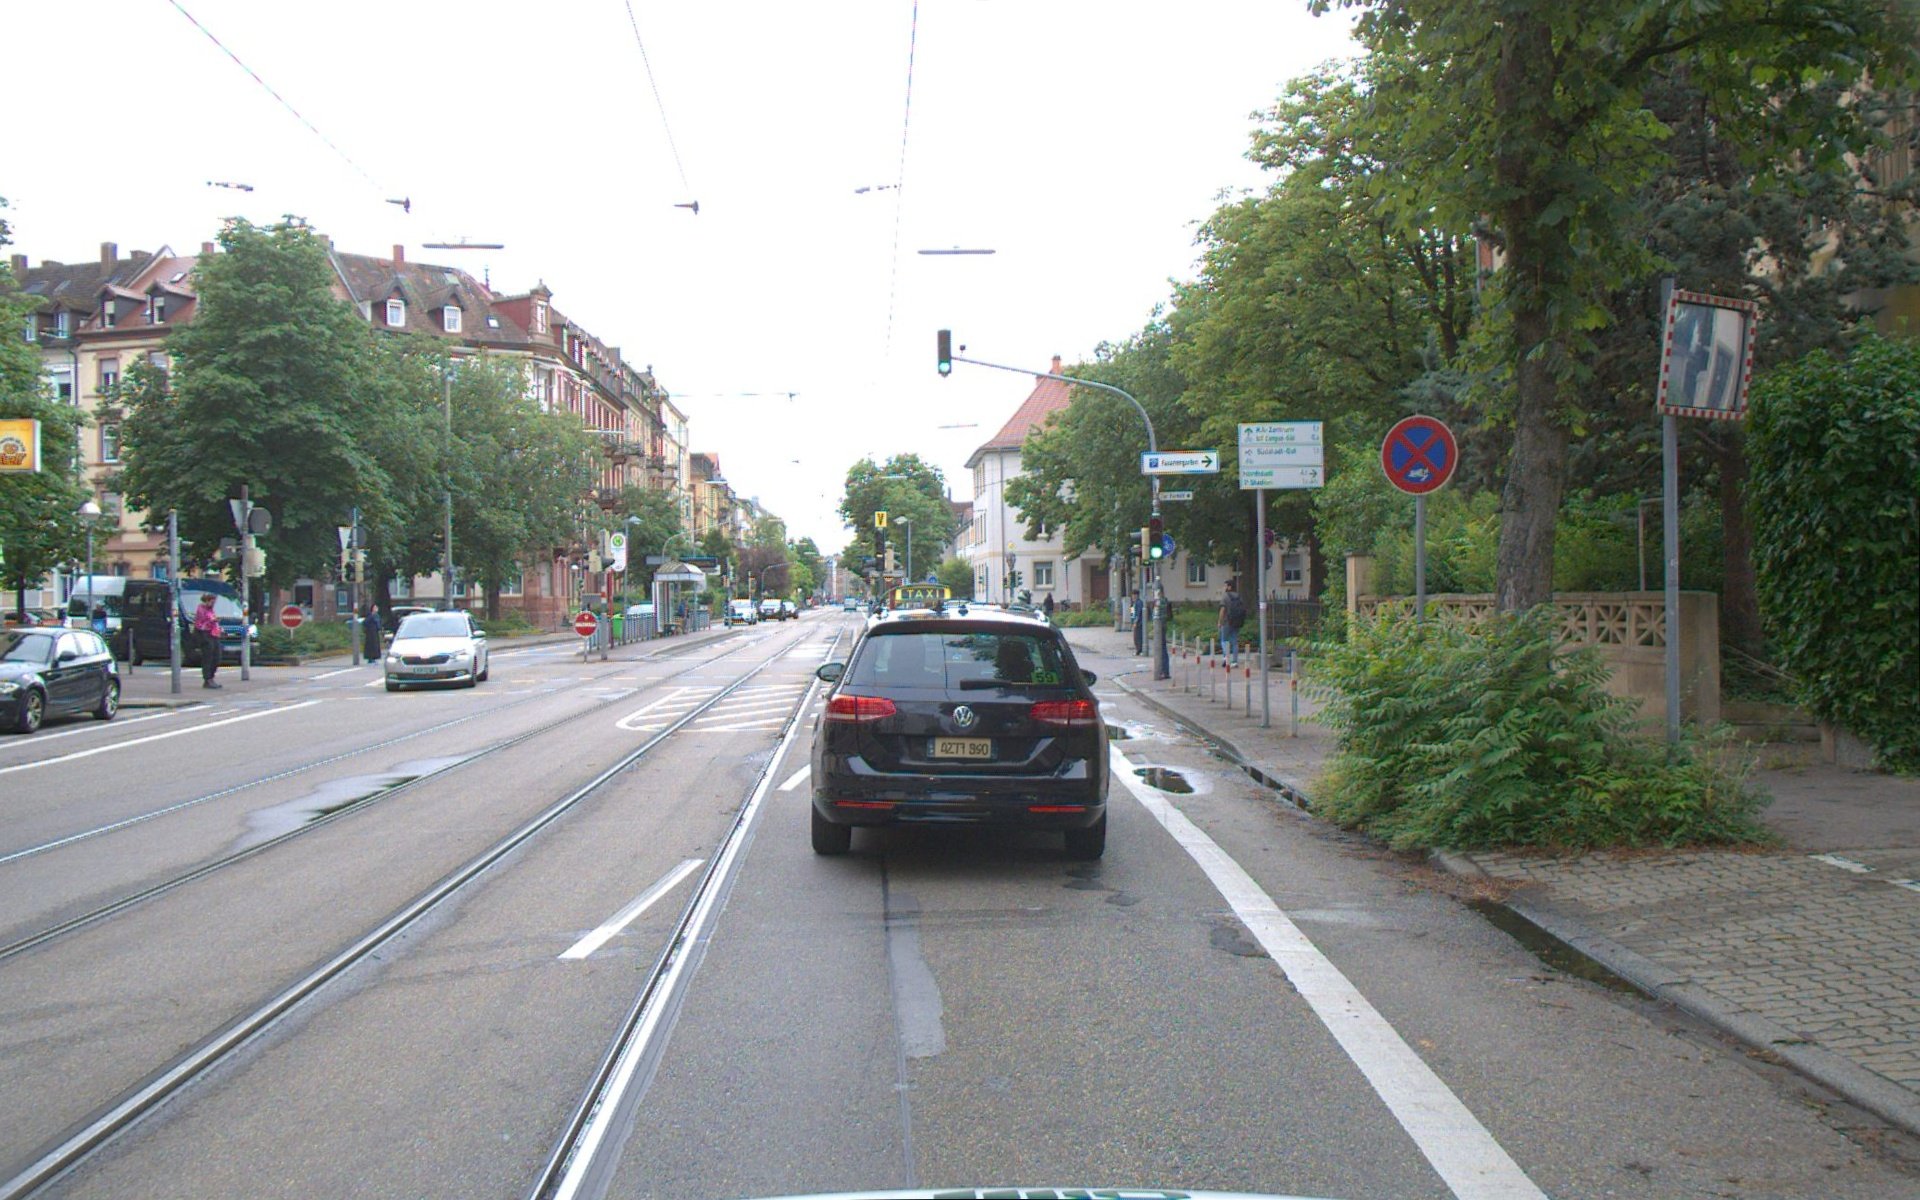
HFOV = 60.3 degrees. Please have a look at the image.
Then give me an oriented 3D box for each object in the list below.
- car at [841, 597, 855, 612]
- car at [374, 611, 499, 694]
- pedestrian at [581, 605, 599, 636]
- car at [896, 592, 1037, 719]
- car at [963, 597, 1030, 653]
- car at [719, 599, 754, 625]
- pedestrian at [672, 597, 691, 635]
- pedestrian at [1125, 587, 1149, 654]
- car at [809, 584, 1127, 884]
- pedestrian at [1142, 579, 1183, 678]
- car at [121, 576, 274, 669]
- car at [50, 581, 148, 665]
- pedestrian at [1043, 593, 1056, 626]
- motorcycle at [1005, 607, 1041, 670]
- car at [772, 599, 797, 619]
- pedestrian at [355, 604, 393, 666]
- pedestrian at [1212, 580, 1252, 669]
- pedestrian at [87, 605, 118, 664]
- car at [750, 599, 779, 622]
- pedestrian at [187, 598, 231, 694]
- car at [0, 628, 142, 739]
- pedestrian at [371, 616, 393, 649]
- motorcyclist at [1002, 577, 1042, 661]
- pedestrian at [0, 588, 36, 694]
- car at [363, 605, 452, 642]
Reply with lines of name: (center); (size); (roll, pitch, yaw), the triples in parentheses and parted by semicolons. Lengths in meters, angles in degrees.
car: (-16.042, 0.662, 237.725); (1.992, 2.049, 3.997); (0, -1, -3)
car: (-10.267, 0.985, 32.694); (1.657, 1.435, 3.993); (-2, 0, -8)
pedestrian: (-18.681, 1.047, 83.599); (0.577, 1.547, 0.647); (-1, 0, 32)
car: (0.002, 0.688, 22.661); (1.689, 1.573, 3.997); (-1, 0, -3)
car: (1.040, 0.715, 48.925); (1.689, 1.573, 3.997); (-1, 0, -3)
car: (-14.589, 0.757, 108.183); (1.759, 1.624, 3.999); (-1, 0, -1)
pedestrian: (-11.775, 0.671, 69.856); (0.700, 1.547, 0.589); (-1, 0, -2)
pedestrian: (5.036, 0.586, 47.137); (0.504, 1.862, 0.418); (-4, 0, -2)
car: (-0.062, 0.708, 10.833); (1.689, 1.573, 3.997); (-1, 0, -3)
pedestrian: (3.915, 0.544, 31.980); (0.573, 1.862, 0.604); (-4, 0, -2)
car: (-21.423, 0.622, 46.362); (5.290, 2.460, 2.171); (-1, 0, 45)
car: (-28.080, 0.723, 53.836); (2.161, 2.571, 5.314); (-1, 0, -35)
pedestrian: (4.322, 0.440, 80.284); (0.569, 1.581, 0.609); (-1, 0, -1)
motorcycle: (1.330, 0.793, 34.601); (0.437, 1.257, 1.908); (-1, 0, 11)
car: (-15.131, 0.761, 142.590); (1.759, 1.624, 3.999); (-1, 0, -1)
pedestrian: (-16.213, 0.952, 45.761); (0.820, 1.692, 0.591); (-1, 0, -2)
pedestrian: (5.729, 0.517, 34.872); (0.620, 1.846, 0.725); (-1, 0, -6)
pedestrian: (-25.706, 1.041, 49.564); (0.694, 1.745, 0.543); (-1, 0, -44)
car: (-14.779, 0.788, 125.132); (1.759, 1.624, 3.999); (-1, 0, -1)
pedestrian: (-14.850, 0.898, 32.716); (0.611, 1.875, 0.609); (-1, 0, -6)
car: (-13.630, 1.149, 24.138); (1.617, 1.385, 4.124); (1, 0, -6)
pedestrian: (-21.512, 1.198, 61.569); (0.582, 1.189, 0.835); (-1, 0, -32)
motorcyclist: (1.302, 0.397, 34.562); (0.688, 1.722, 0.805); (-1, 0, 12)
pedestrian: (-18.947, 0.807, 32.607); (0.954, 2.049, 0.835); (-2, 0, -4)
car: (-27.030, 1.143, 80.943); (3.820, 1.651, 1.705); (-1, 0, -36)
